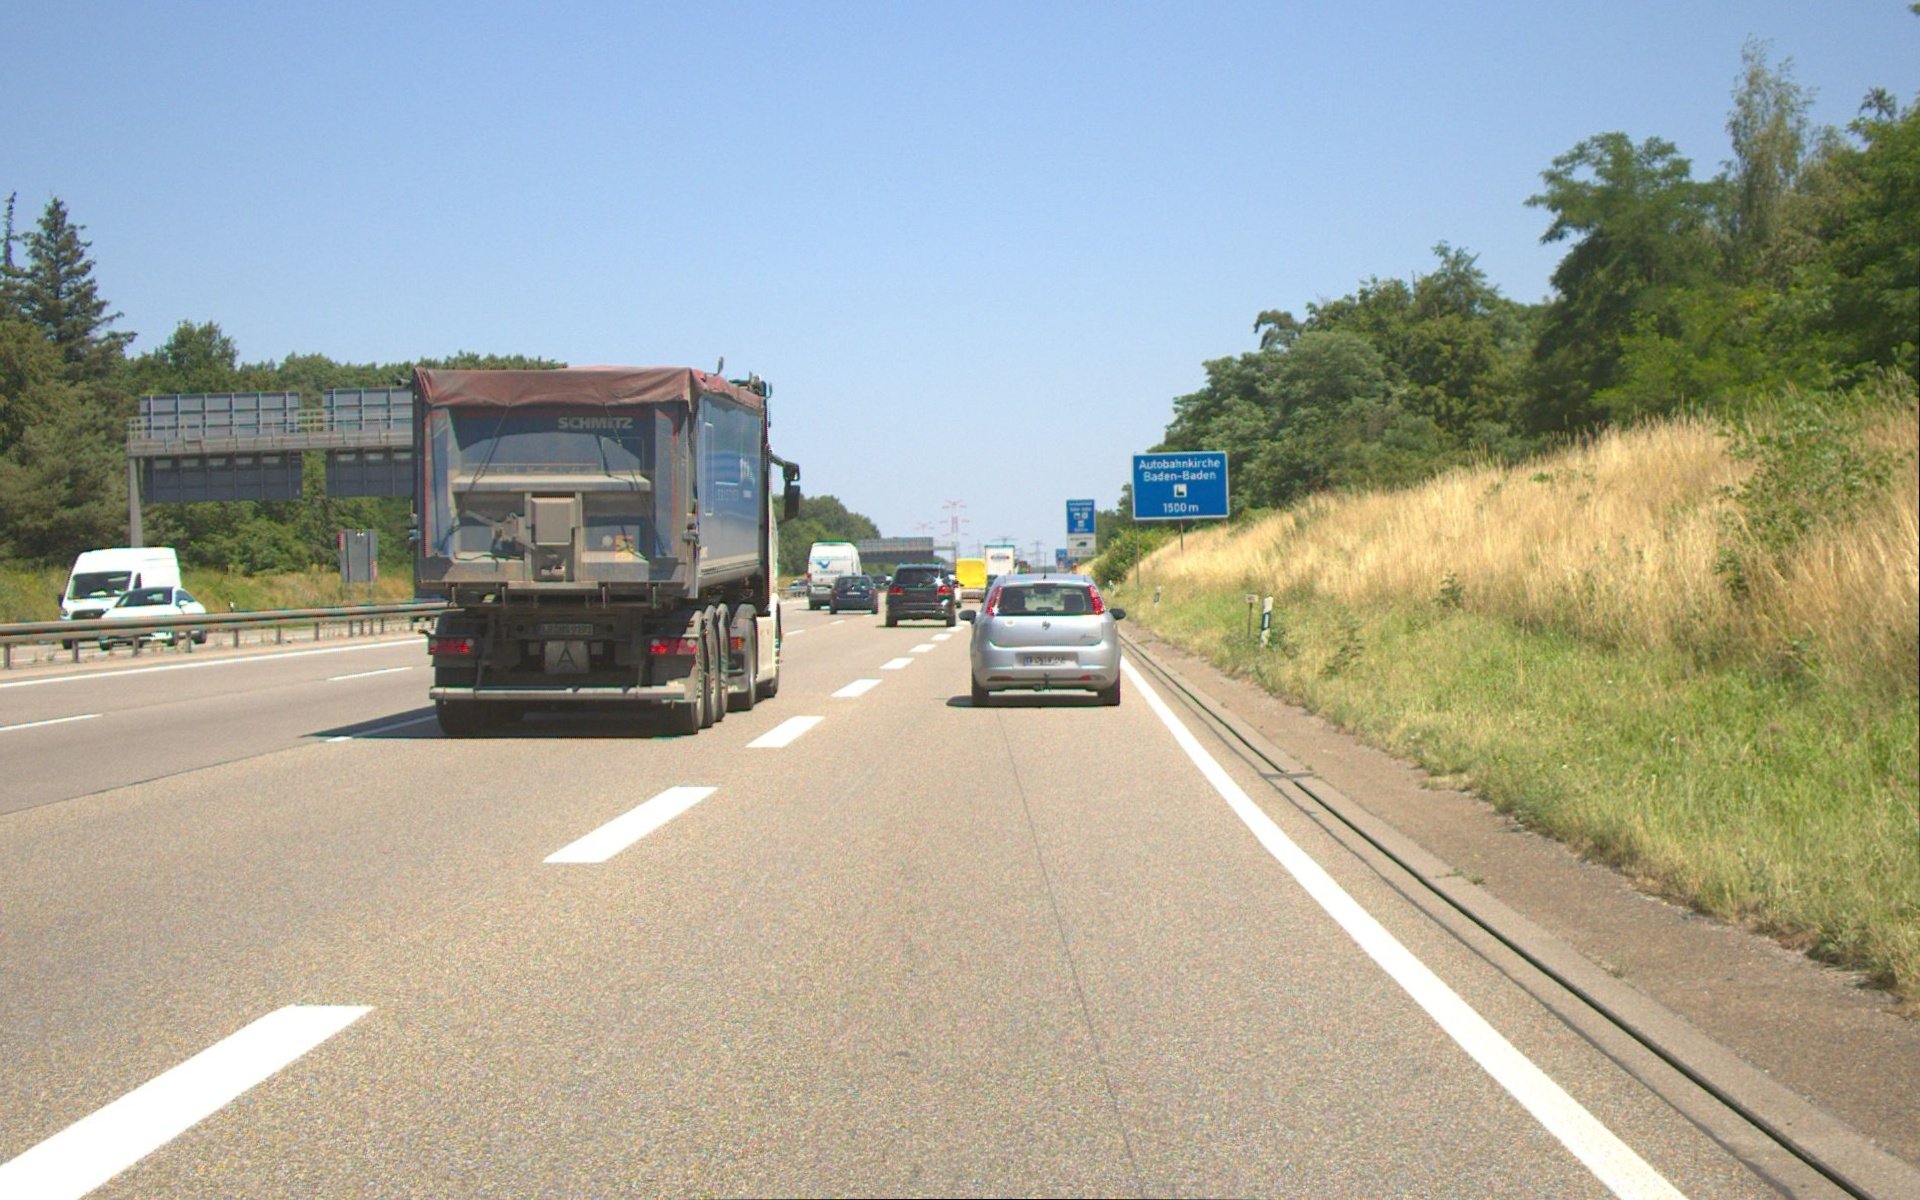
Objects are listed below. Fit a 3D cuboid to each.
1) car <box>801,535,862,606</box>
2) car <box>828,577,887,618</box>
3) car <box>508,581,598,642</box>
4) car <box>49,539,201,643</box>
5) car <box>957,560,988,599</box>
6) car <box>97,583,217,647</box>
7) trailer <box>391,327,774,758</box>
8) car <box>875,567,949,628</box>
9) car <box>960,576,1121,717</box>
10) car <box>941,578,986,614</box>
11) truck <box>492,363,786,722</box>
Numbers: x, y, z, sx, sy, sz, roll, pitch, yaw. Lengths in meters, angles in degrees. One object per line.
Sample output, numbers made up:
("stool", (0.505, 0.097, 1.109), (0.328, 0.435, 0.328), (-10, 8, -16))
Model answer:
("car", (-5.338, -1.249, 144.034), (2.260, 2.940, 6.114), (0, 1, 1))
("car", (-3.765, -0.111, 126.839), (1.894, 1.464, 4.261), (0, 1, 2))
("car", (-10.726, 0.294, 90.811), (1.703, 1.469, 4.597), (-1, 1, 1))
("car", (-23.440, -0.295, 96.836), (2.343, 2.701, 6.873), (-3, 1, 1))
("car", (0.668, -1.072, 179.405), (1.611, 2.007, 4.000), (0, 1, 1))
("car", (-19.679, 0.345, 84.436), (1.691, 1.387, 4.675), (-3, 1, 1))
("trailer", (-3.561, -0.586, 34.739), (2.737, 3.746, 9.109), (-1, 1, 1))
("car", (-1.307, -0.083, 95.720), (1.832, 1.666, 4.000), (1, 0, 2))
("car", (0.878, 0.494, 39.294), (1.719, 1.486, 3.737), (0, 1, -1))
("car", (0.180, -0.170, 147.328), (1.821, 1.486, 3.737), (0, 0, 2))
("truck", (-3.531, -0.654, 39.179), (2.684, 3.746, 5.944), (-1, 1, 1))
